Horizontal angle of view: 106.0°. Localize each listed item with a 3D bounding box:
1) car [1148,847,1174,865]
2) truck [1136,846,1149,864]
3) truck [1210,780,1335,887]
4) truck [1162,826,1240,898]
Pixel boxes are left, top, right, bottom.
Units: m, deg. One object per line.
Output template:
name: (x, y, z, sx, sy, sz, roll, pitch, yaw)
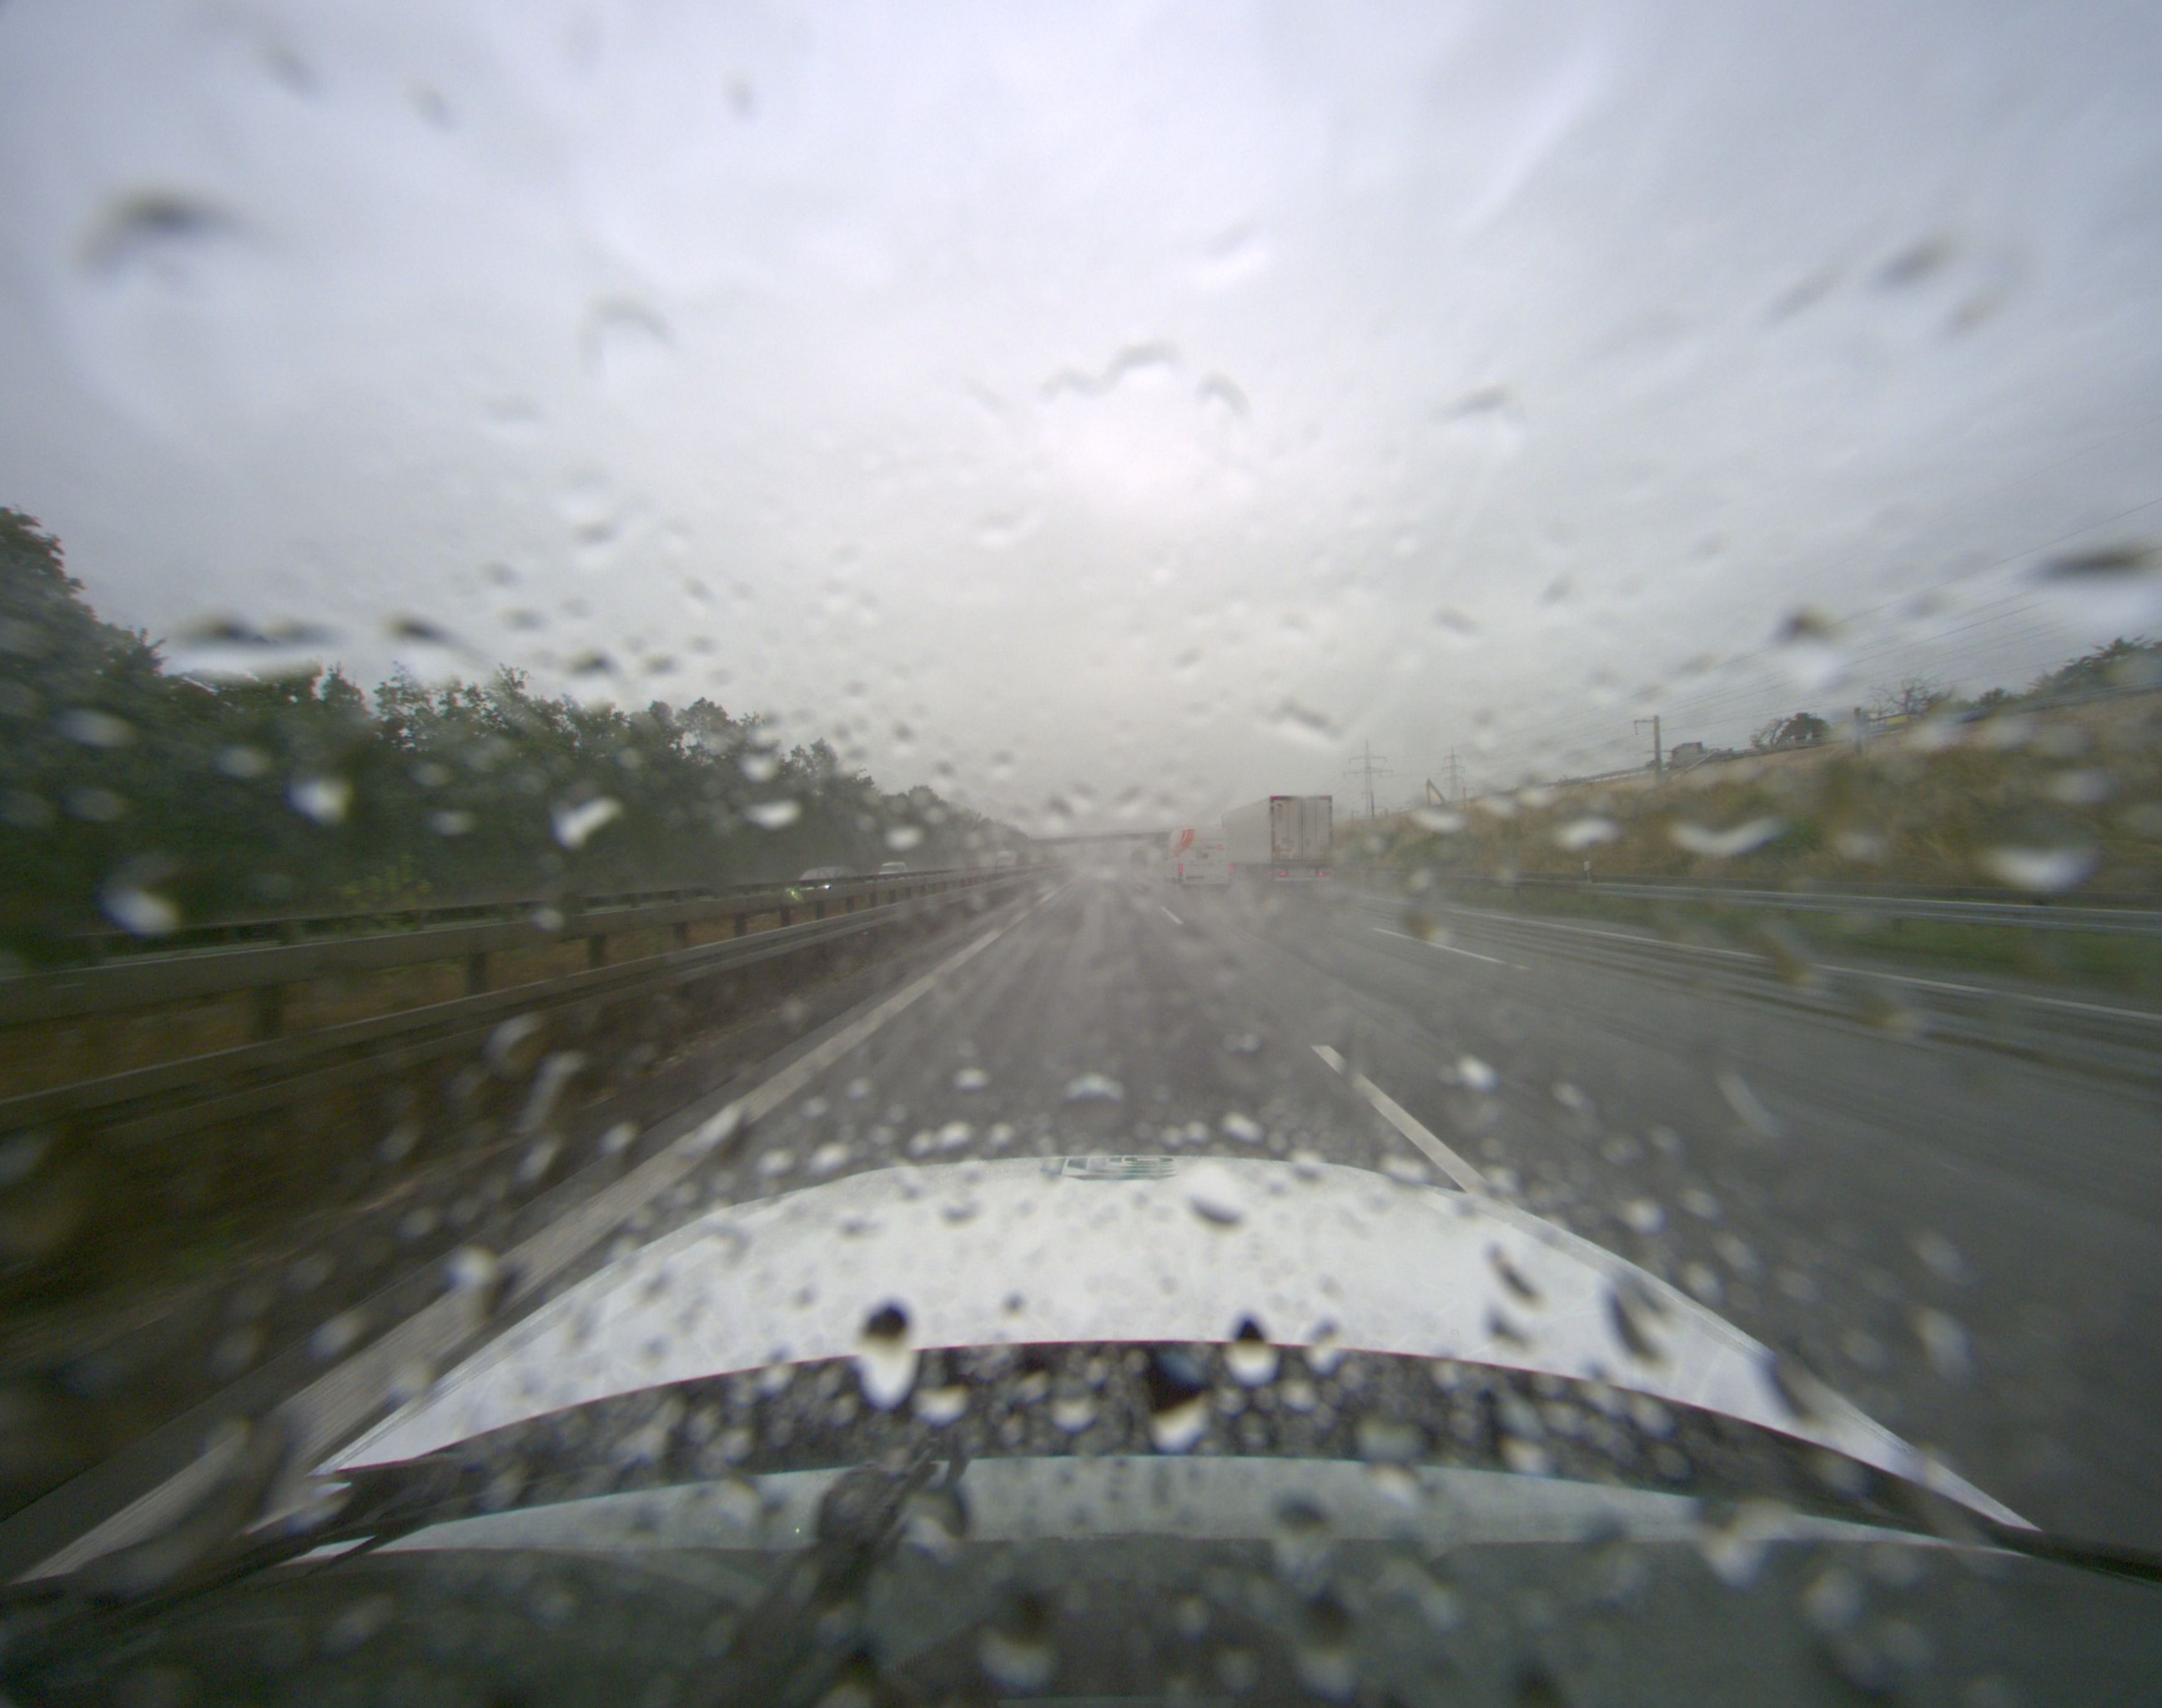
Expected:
car: (9.729, 0.217, 99.287, 2.778, 2.013, 4.995, 0, 1, 1)
truck: (12.088, 0.148, 160.893, 2.102, 3.516, 5.247, 0, 1, 0)
truck: (9.537, -0.869, 43.253, 3.029, 4.588, 16.352, 0, 0, 1)
truck: (4.465, 0.245, 31.287, 2.410, 2.492, 5.563, 0, 1, 2)
